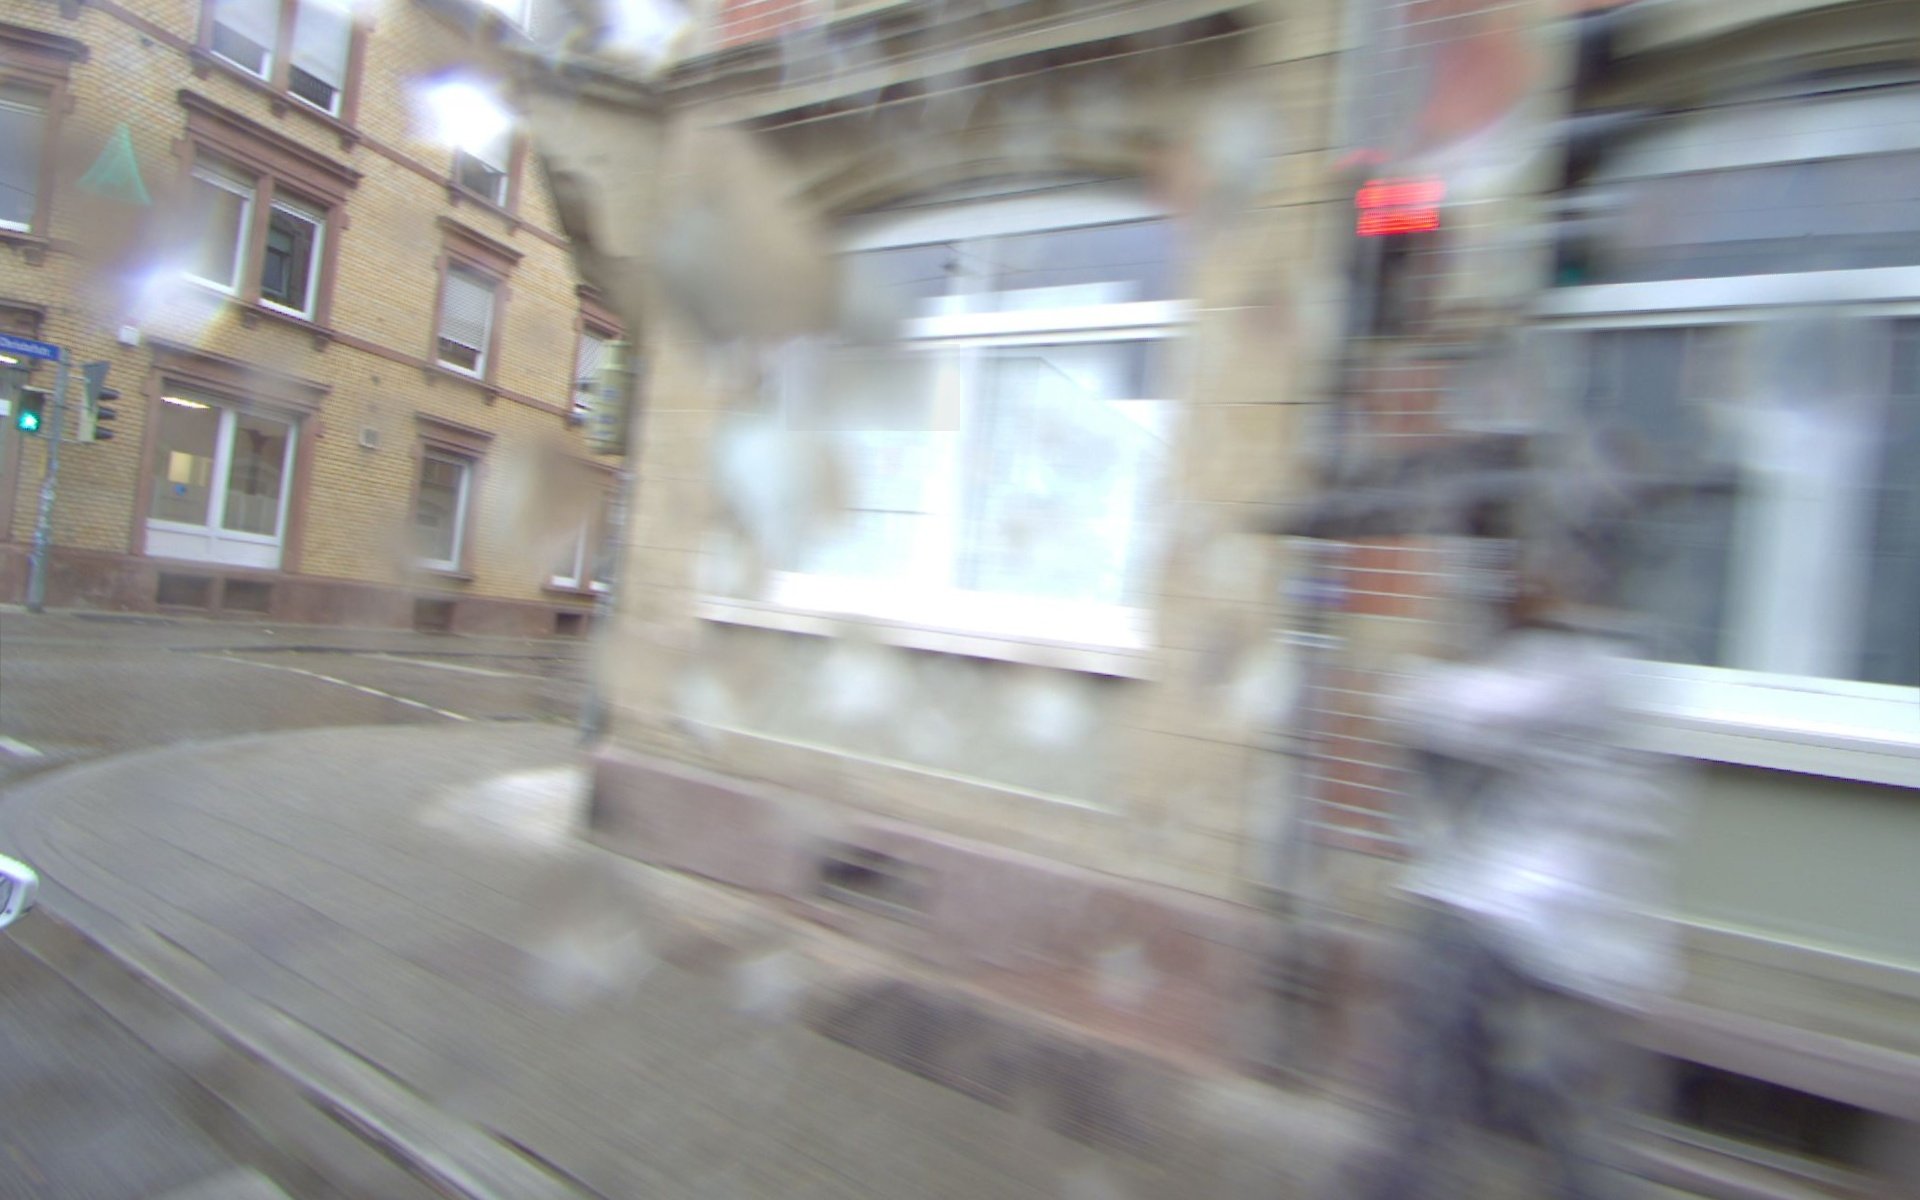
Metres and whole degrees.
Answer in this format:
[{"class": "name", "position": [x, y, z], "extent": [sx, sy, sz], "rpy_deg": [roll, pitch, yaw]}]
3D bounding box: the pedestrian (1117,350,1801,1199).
[{"class": "pedestrian", "position": [0.960, 0.574, 2.086], "extent": [0.914, 1.939, 0.785], "rpy_deg": [6, 2, 31]}]

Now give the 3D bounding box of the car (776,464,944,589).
[{"class": "car", "position": [-2.581, -1.897, 27.394], "extent": [2.085, 2.541, 4.746], "rpy_deg": [7, -2, 27]}]
